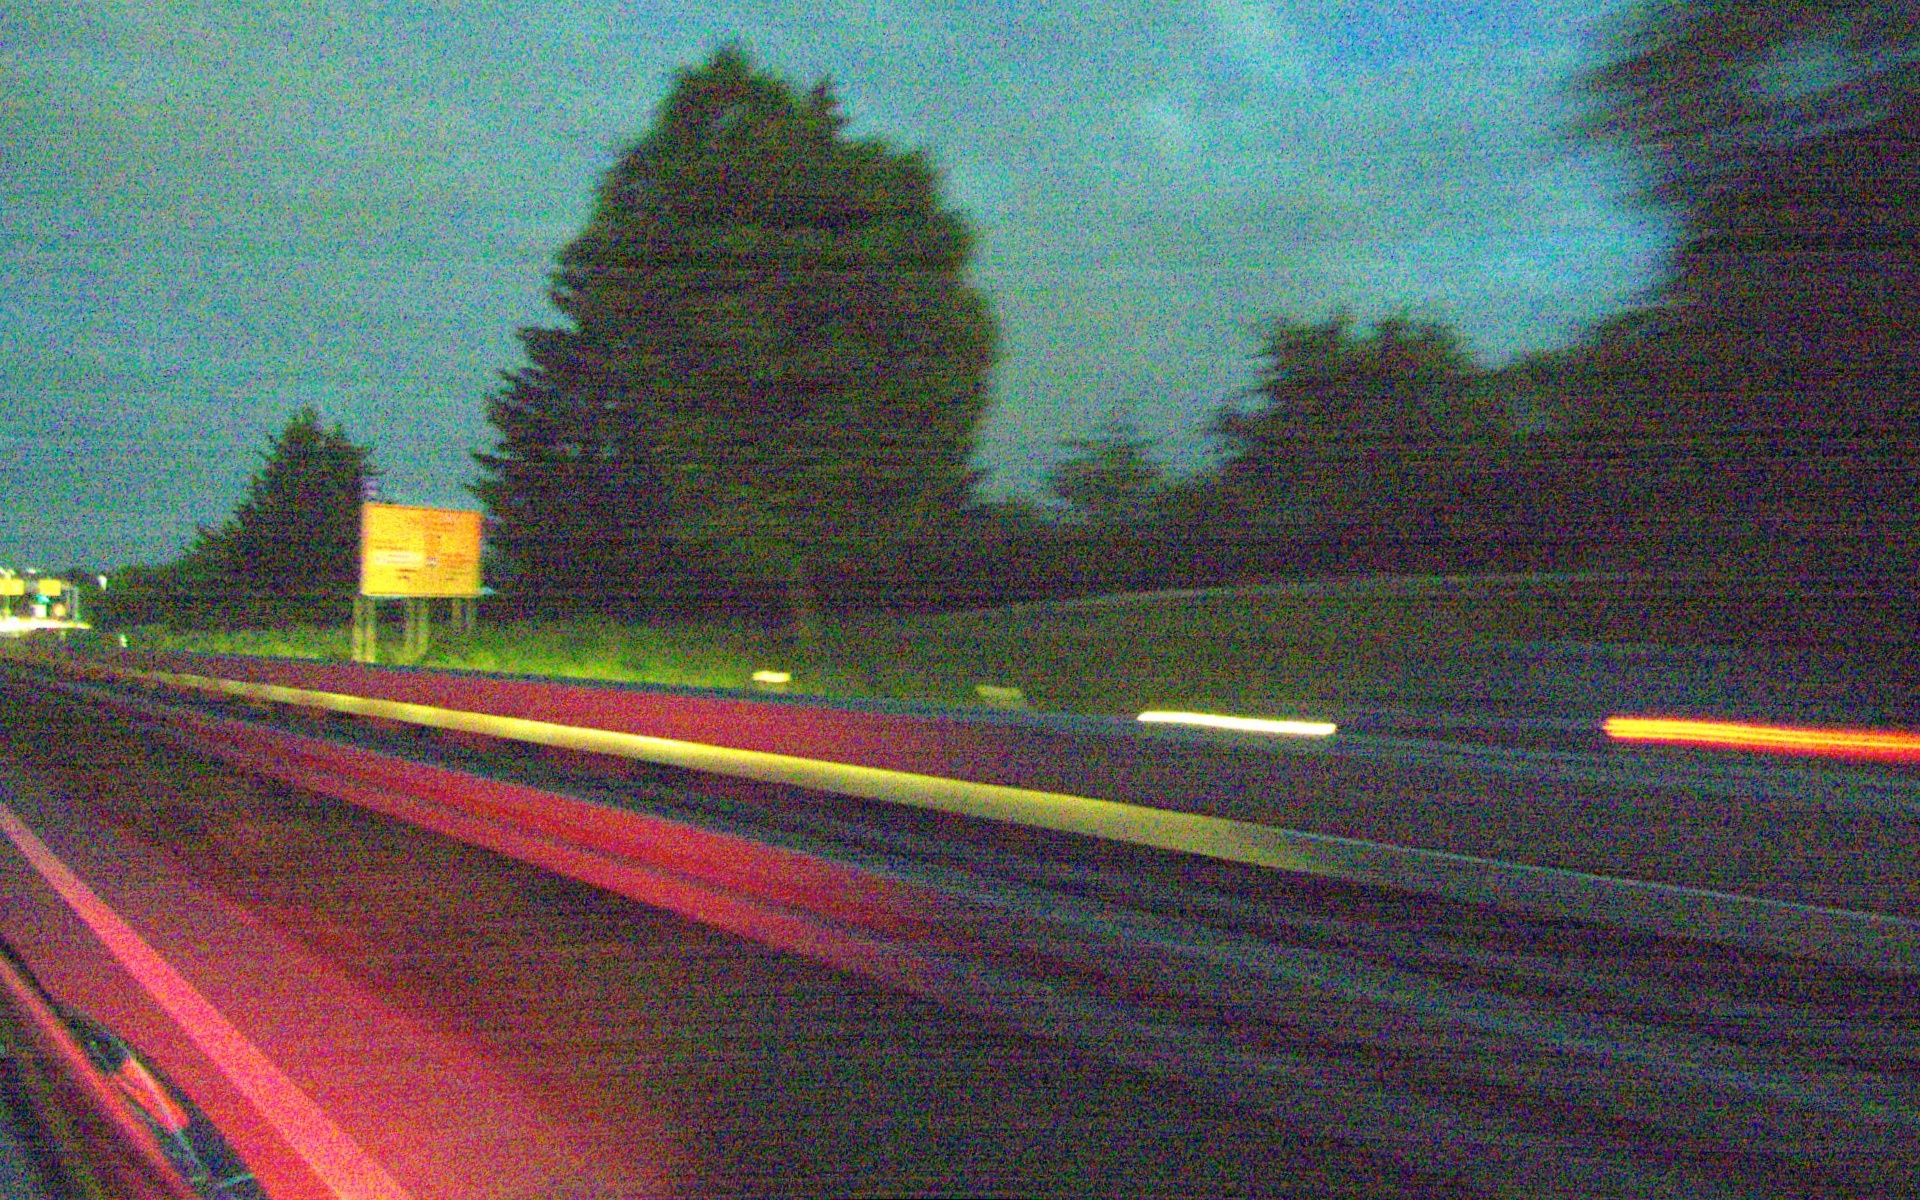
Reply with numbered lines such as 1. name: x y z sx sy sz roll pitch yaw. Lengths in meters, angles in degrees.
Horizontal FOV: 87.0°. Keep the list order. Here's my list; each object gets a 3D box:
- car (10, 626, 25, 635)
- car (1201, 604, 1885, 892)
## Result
1. car: -177.890 5.763 191.058 1.698 1.458 4.390 0 0 -38
2. car: 4.122 0.863 7.664 4.164 1.599 1.665 -1 -1 41
